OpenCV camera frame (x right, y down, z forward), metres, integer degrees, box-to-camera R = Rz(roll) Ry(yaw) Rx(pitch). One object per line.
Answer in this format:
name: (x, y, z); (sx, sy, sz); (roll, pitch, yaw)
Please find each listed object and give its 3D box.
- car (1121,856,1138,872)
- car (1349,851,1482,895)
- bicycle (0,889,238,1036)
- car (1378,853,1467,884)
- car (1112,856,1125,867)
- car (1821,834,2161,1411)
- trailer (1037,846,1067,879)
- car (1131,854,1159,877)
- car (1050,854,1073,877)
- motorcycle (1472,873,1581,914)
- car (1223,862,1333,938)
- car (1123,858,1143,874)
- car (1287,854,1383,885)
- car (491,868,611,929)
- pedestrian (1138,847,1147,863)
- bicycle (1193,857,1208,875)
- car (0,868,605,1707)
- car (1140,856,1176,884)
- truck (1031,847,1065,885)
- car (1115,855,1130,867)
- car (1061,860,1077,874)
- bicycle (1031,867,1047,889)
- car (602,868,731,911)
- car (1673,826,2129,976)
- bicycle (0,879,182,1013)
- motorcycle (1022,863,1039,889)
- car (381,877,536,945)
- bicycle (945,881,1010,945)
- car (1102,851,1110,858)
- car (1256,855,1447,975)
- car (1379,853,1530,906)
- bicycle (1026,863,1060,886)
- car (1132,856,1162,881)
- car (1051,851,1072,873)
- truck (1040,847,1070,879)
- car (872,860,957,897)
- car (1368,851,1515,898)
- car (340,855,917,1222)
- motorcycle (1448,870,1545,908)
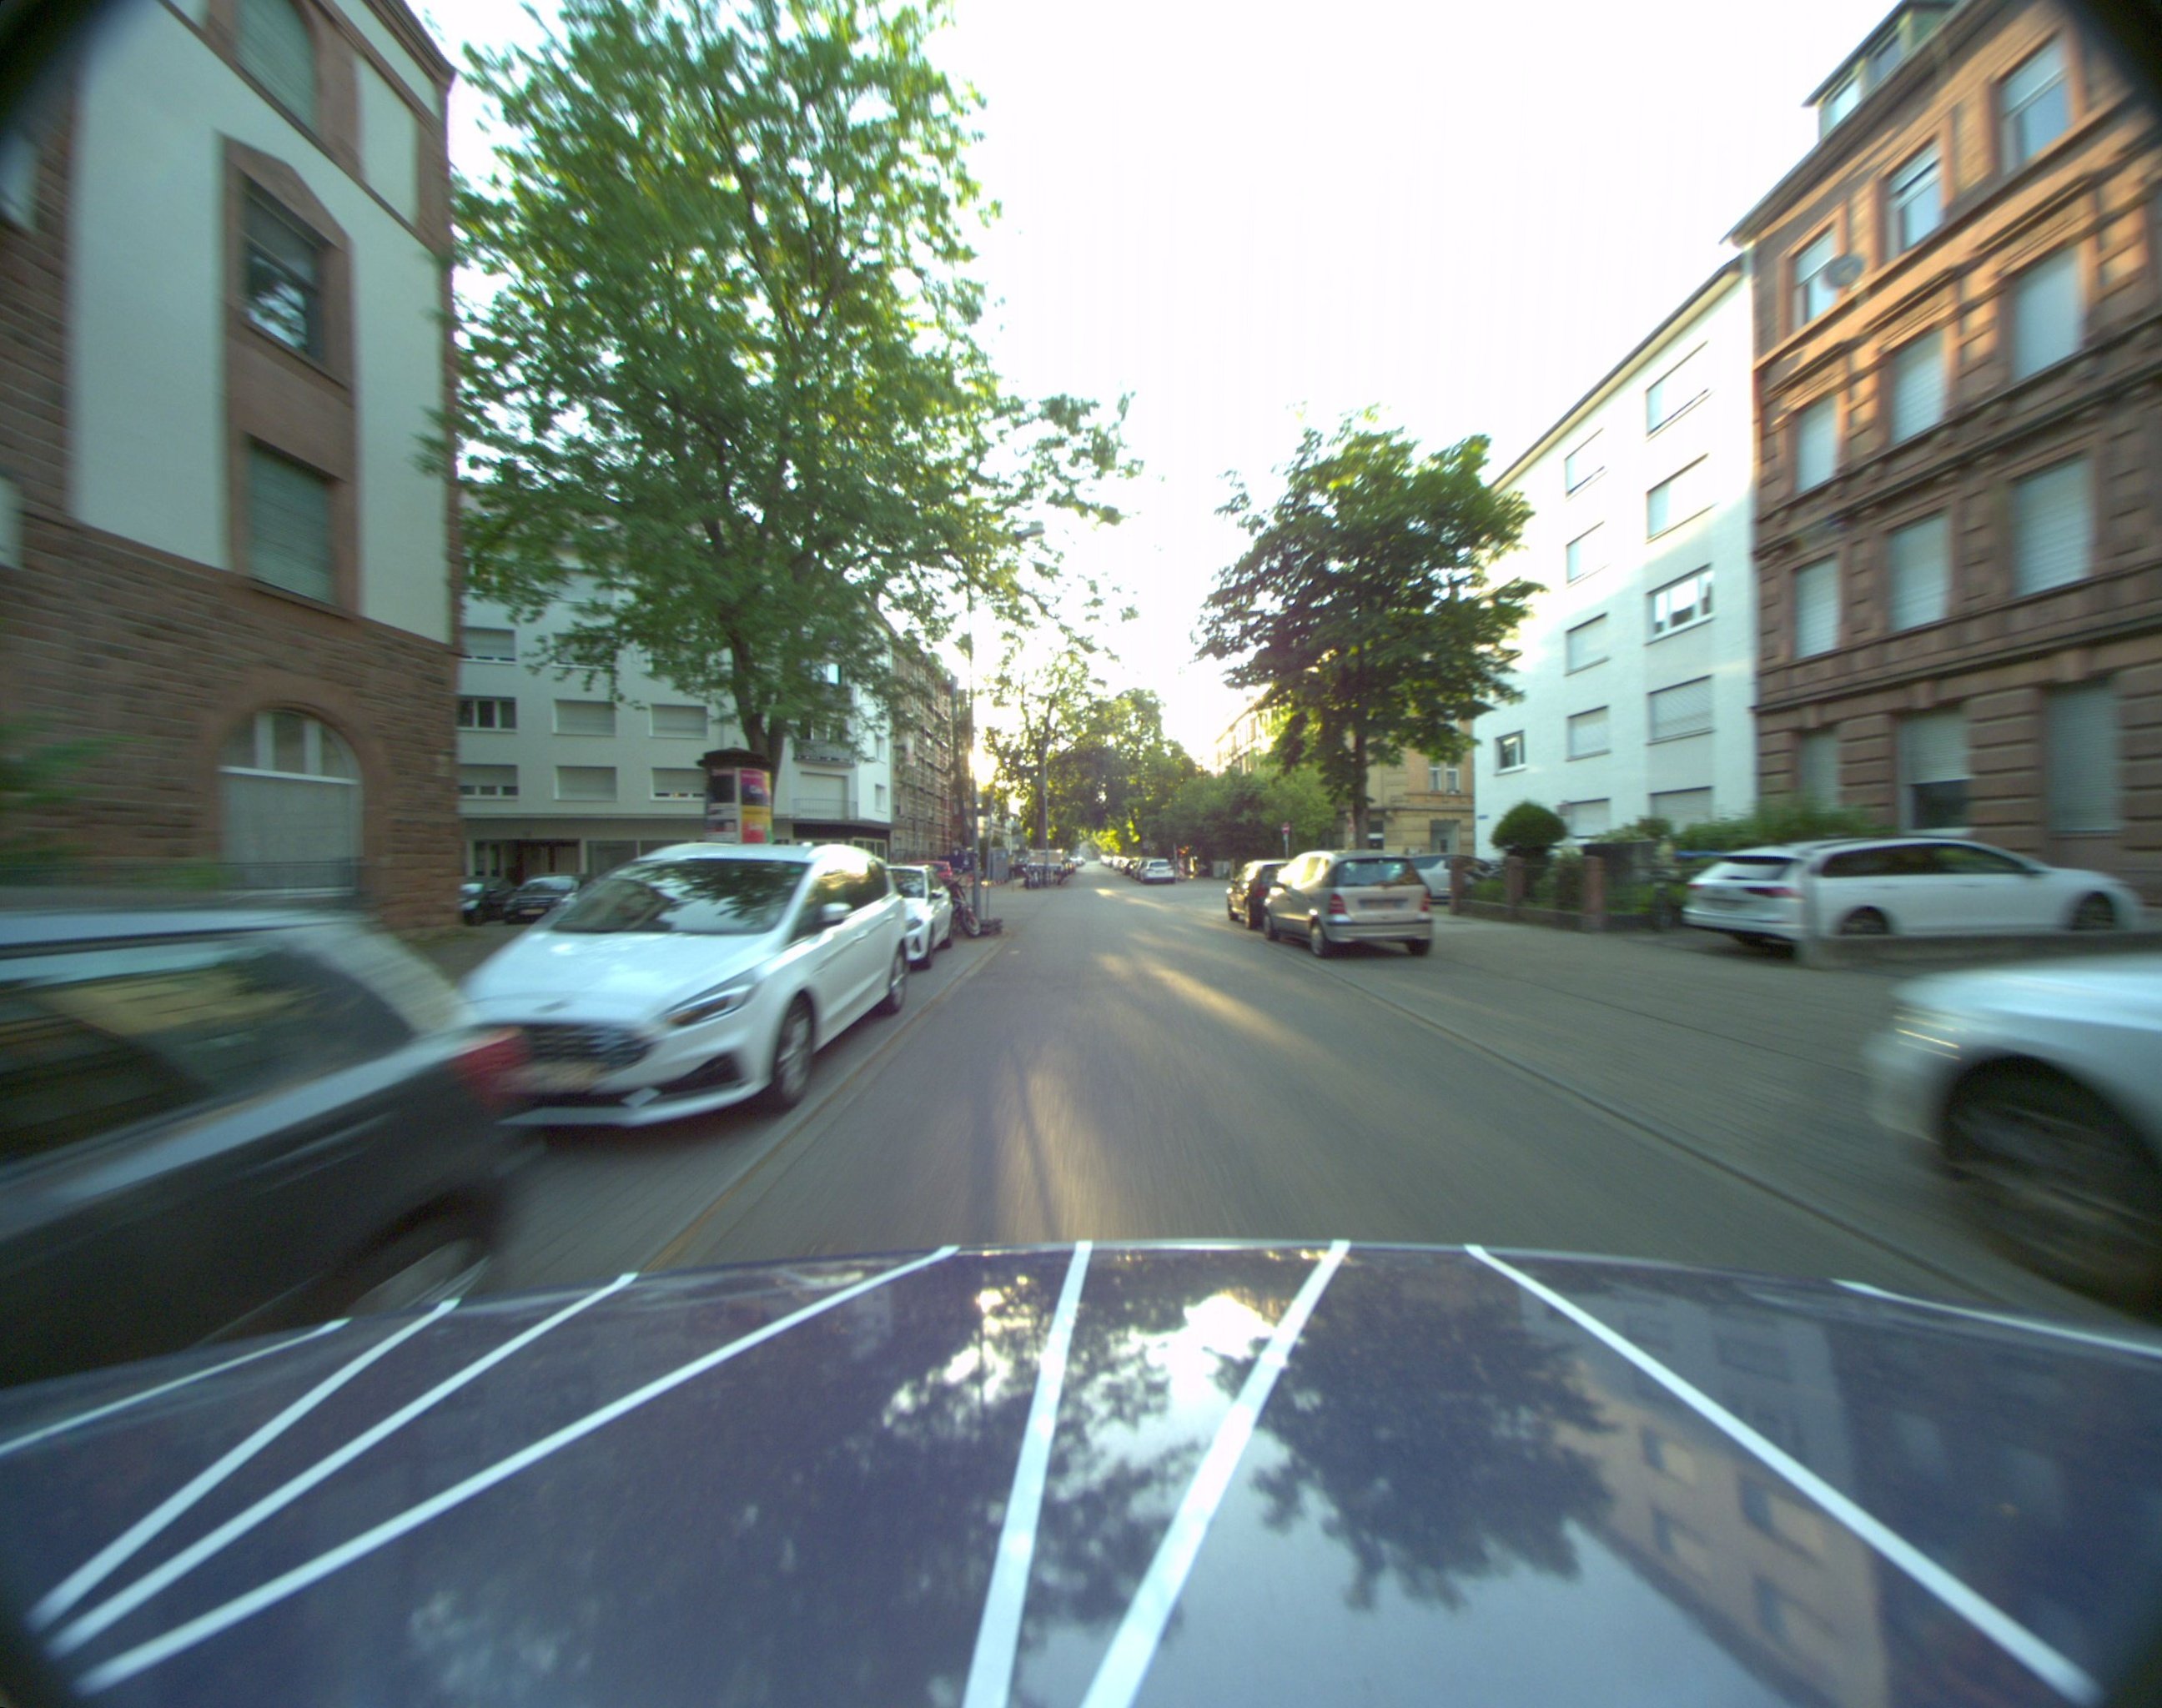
car: (4.791, 0.975, 74.792); (1.555, 1.476, 3.695); (-4, -1, 4)
car: (12.015, 0.690, 27.543); (4.100, 1.438, 1.711); (-2, -1, 10)
bicycle: (-7.083, 0.770, 5.514); (1.513, 1.027, 0.330); (0, -1, -1)
car: (18.299, 0.755, 40.752); (4.107, 1.543, 1.707); (-1, 2, -10)
car: (6.128, 1.276, 125.783); (1.871, 1.677, 4.592); (-2, -1, 0)
car: (4.127, 0.763, 1.040); (1.926, 1.707, 4.428); (-1, 0, 1)
trailer: (-2.079, 0.638, 55.938); (1.959, 2.282, 4.645); (2, 0, 1)
car: (4.821, 0.879, 57.505); (1.694, 1.554, 4.403); (-4, -1, 0)
car: (-1.686, 1.013, 66.609); (1.843, 1.931, 4.614); (2, -1, 0)
motorcycle: (10.997, 0.973, 18.817); (2.239, 0.952, 0.588); (-2, 0, 10)
car: (4.273, 0.930, 17.061); (1.620, 1.462, 3.962); (-1, 0, 3)
car: (4.901, 1.126, 72.179); (1.555, 1.476, 3.694); (0, -1, -1)
car: (13.383, 0.820, 40.130); (4.467, 1.542, 1.708); (0, -1, -9)
car: (-14.592, 1.164, 21.138); (1.682, 1.469, 3.428); (-2, 0, -16)
pedestrian: (7.717, 0.069, 95.637); (0.869, 2.002, 1.008); (0, 0, -19)
bicycle: (8.988, 0.890, 56.914); (0.606, 1.277, 2.489); (0, 0, 21)
car: (-2.604, 0.877, 0.661); (1.691, 1.597, 4.209); (-1, 0, 0)
car: (4.688, 0.955, 46.786); (1.694, 1.493, 4.738); (-4, -1, 0)
truck: (-2.040, 0.690, 48.848); (1.982, 2.231, 6.775); (-1, 0, -1)
car: (5.190, 0.882, 95.731); (1.668, 1.484, 3.710); (-4, -1, 0)
car: (-1.378, 1.480, 86.023); (1.669, 1.491, 3.693); (2, -1, -2)
bicycle: (-2.268, 1.260, 40.775); (0.406, 1.103, 2.156); (1, 0, 8)
car: (-16.262, 1.368, 30.048); (4.239, 1.421, 1.654); (-2, 1, -22)
car: (10.573, 0.574, 10.027); (4.103, 1.518, 1.709); (-4, 0, 0)
bicycle: (-8.102, 0.716, 6.020); (1.513, 1.027, 0.330); (0, -1, -1)
motorcycle: (-2.748, 1.169, 41.209); (0.503, 1.348, 2.063); (1, 1, 7)
car: (-16.831, 1.471, 20.823); (1.827, 1.544, 3.994); (-1, 0, -16)
bicycle: (-2.081, 1.159, 15.427); (0.444, 1.166, 1.639); (-1, 0, 26)
car: (5.703, 0.145, 172.630); (1.617, 1.433, 4.105); (-2, -1, -1)
car: (4.143, 0.849, 12.286); (1.600, 1.594, 3.743); (-1, 0, -3)
car: (10.846, 0.747, 22.303); (3.569, 1.438, 1.819); (-2, -1, 10)
bicycle: (-2.147, 1.179, 43.285); (1.908, 1.251, 0.407); (1, 0, -5)
car: (4.550, 0.982, 52.856); (1.694, 1.493, 4.402); (-4, 0, 0)
car: (-1.927, 0.806, 76.906); (1.959, 2.046, 4.830); (2, -1, 0)
truck: (-1.918, 0.685, 57.002); (1.959, 2.233, 4.645); (2, -1, 1)
car: (-7.331, 1.060, 33.441); (3.481, 1.563, 1.624); (0, -1, -18)
car: (11.922, 0.681, 25.396); (4.099, 1.438, 1.819); (-2, -1, 11)
car: (-2.627, 0.871, 5.901); (1.803, 1.701, 4.600); (-1, 0, -2)
motorcycle: (11.310, 0.950, 20.749); (2.239, 0.952, 0.588); (-2, 0, 10)
